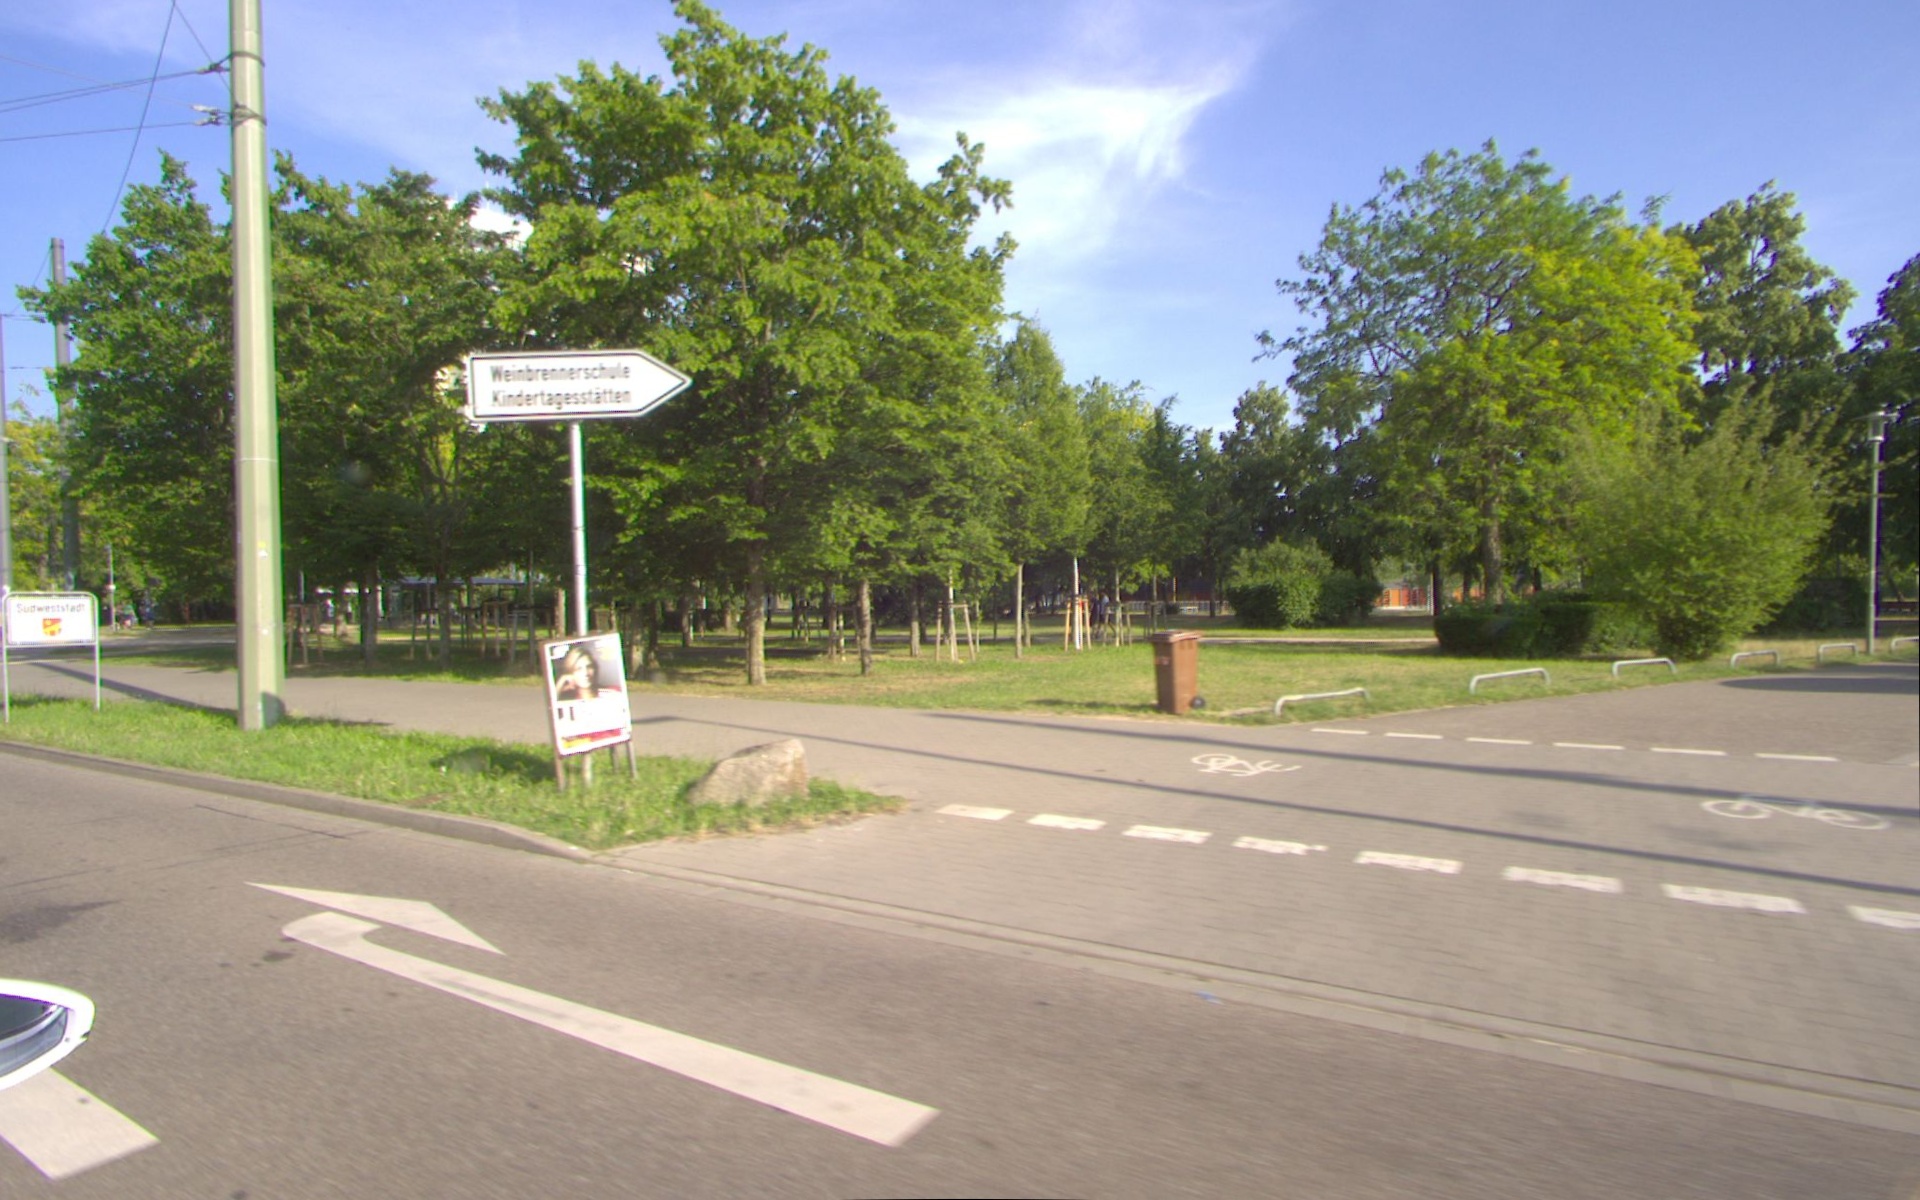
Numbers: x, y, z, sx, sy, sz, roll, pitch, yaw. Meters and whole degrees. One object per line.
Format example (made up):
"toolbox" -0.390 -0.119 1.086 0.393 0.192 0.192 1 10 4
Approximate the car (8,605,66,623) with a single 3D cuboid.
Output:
"car" -92.936 1.372 100.880 1.961 1.673 3.999 -1 0 6

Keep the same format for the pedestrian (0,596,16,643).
"pedestrian" -34.363 0.704 35.746 0.737 1.674 0.882 0 1 40

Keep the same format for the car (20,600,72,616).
"car" -96.480 0.817 105.706 3.960 1.673 1.980 -1 1 -44

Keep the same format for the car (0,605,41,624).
"car" -87.068 1.321 91.718 1.961 1.673 3.999 -1 0 6
